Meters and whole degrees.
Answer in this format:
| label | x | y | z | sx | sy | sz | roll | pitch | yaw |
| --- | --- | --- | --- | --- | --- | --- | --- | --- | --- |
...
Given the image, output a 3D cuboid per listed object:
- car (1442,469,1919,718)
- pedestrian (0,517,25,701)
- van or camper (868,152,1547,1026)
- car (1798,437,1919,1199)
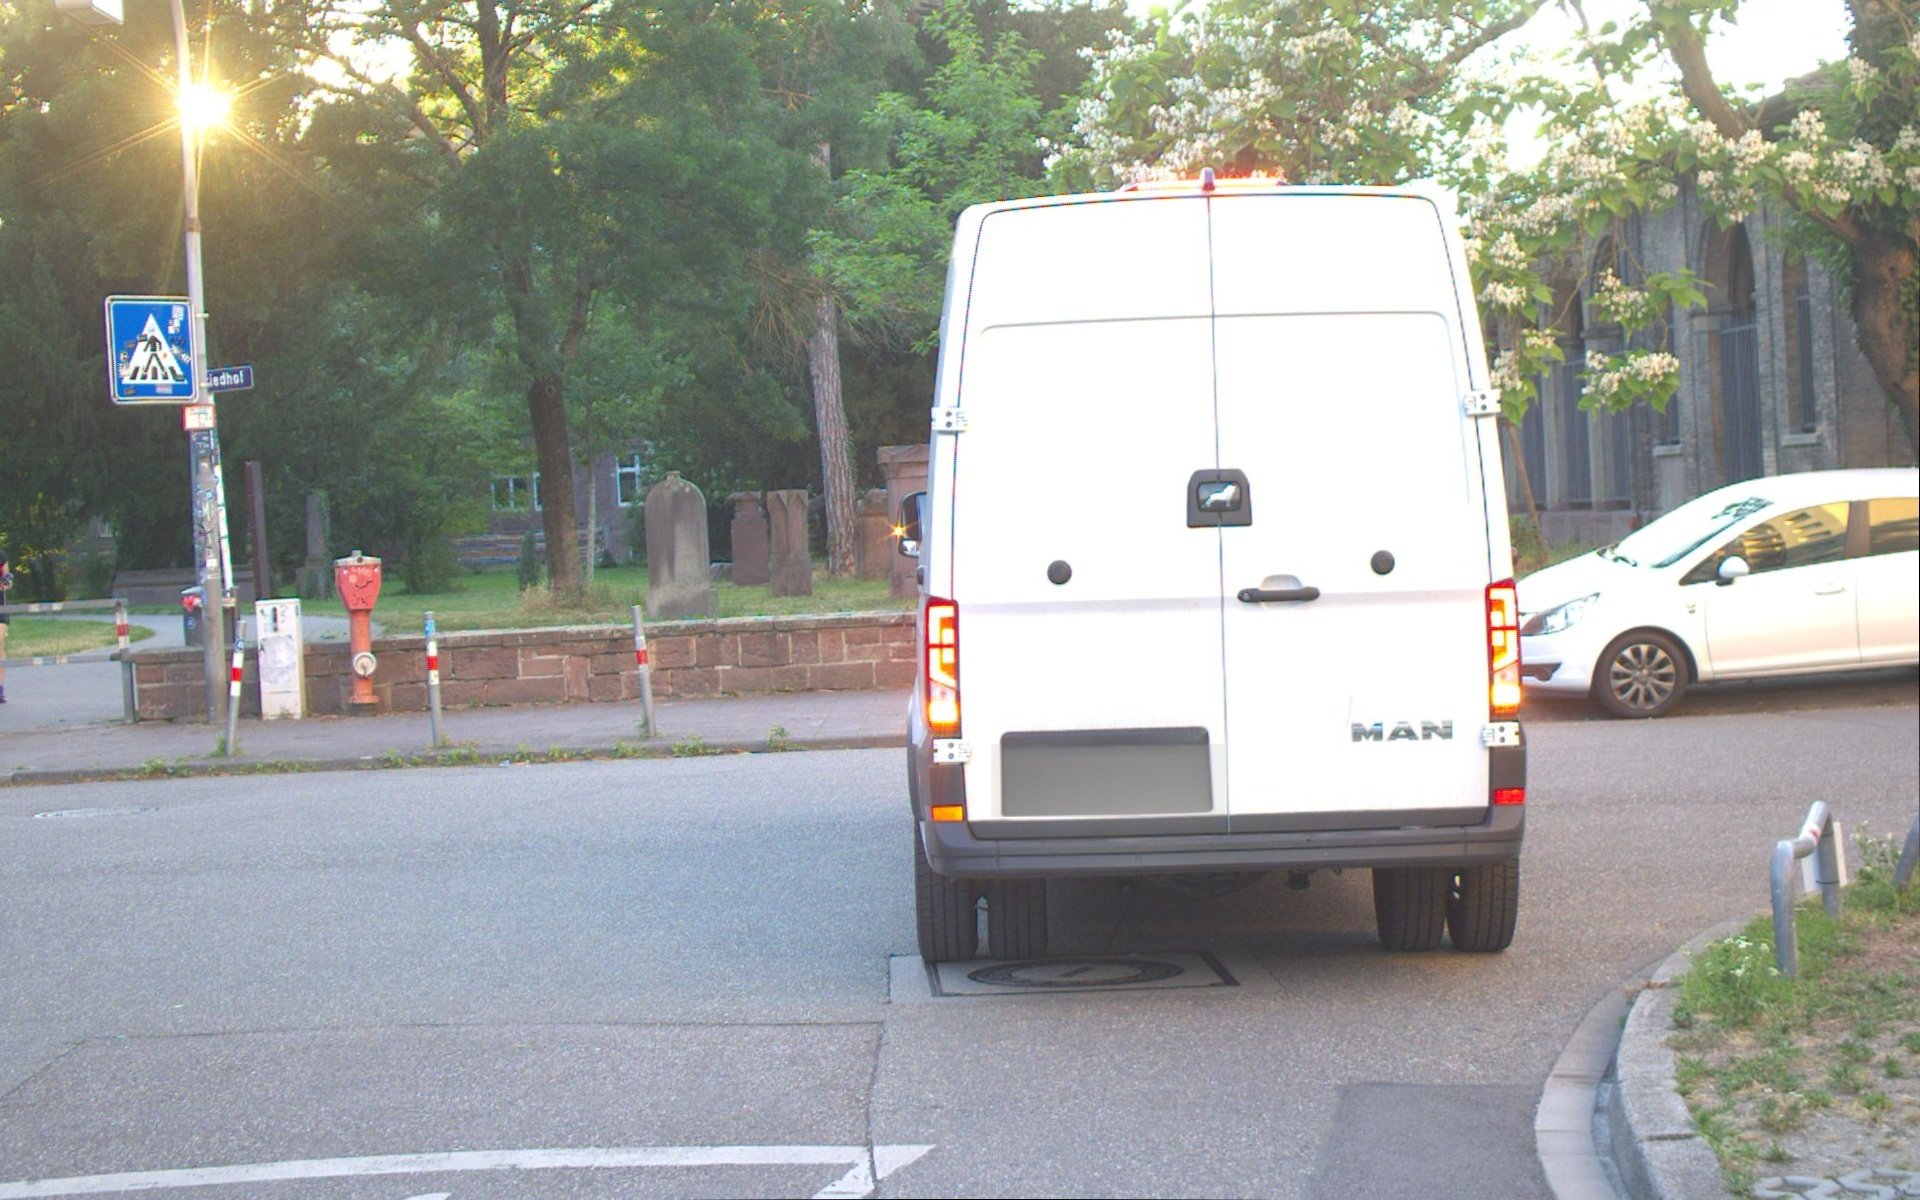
| label | x | y | z | sx | sy | sz | roll | pitch | yaw |
| --- | --- | --- | --- | --- | --- | --- | --- | --- | --- |
| car | 5.488 | -0.089 | 23.992 | 3.854 | 1.568 | 1.958 | -2 | 2 | -3 |
| pedestrian | -8.905 | 0.077 | 31.189 | 0.646 | 1.643 | 0.674 | -1 | 2 | -1 |
| van or camper | 0.795 | -0.094 | 13.708 | 1.993 | 2.609 | 6.403 | -2 | 1 | 1 |
| car | 4.033 | 0.365 | 6.303 | 4.403 | 1.626 | 1.846 | -4 | 0 | -4 |
